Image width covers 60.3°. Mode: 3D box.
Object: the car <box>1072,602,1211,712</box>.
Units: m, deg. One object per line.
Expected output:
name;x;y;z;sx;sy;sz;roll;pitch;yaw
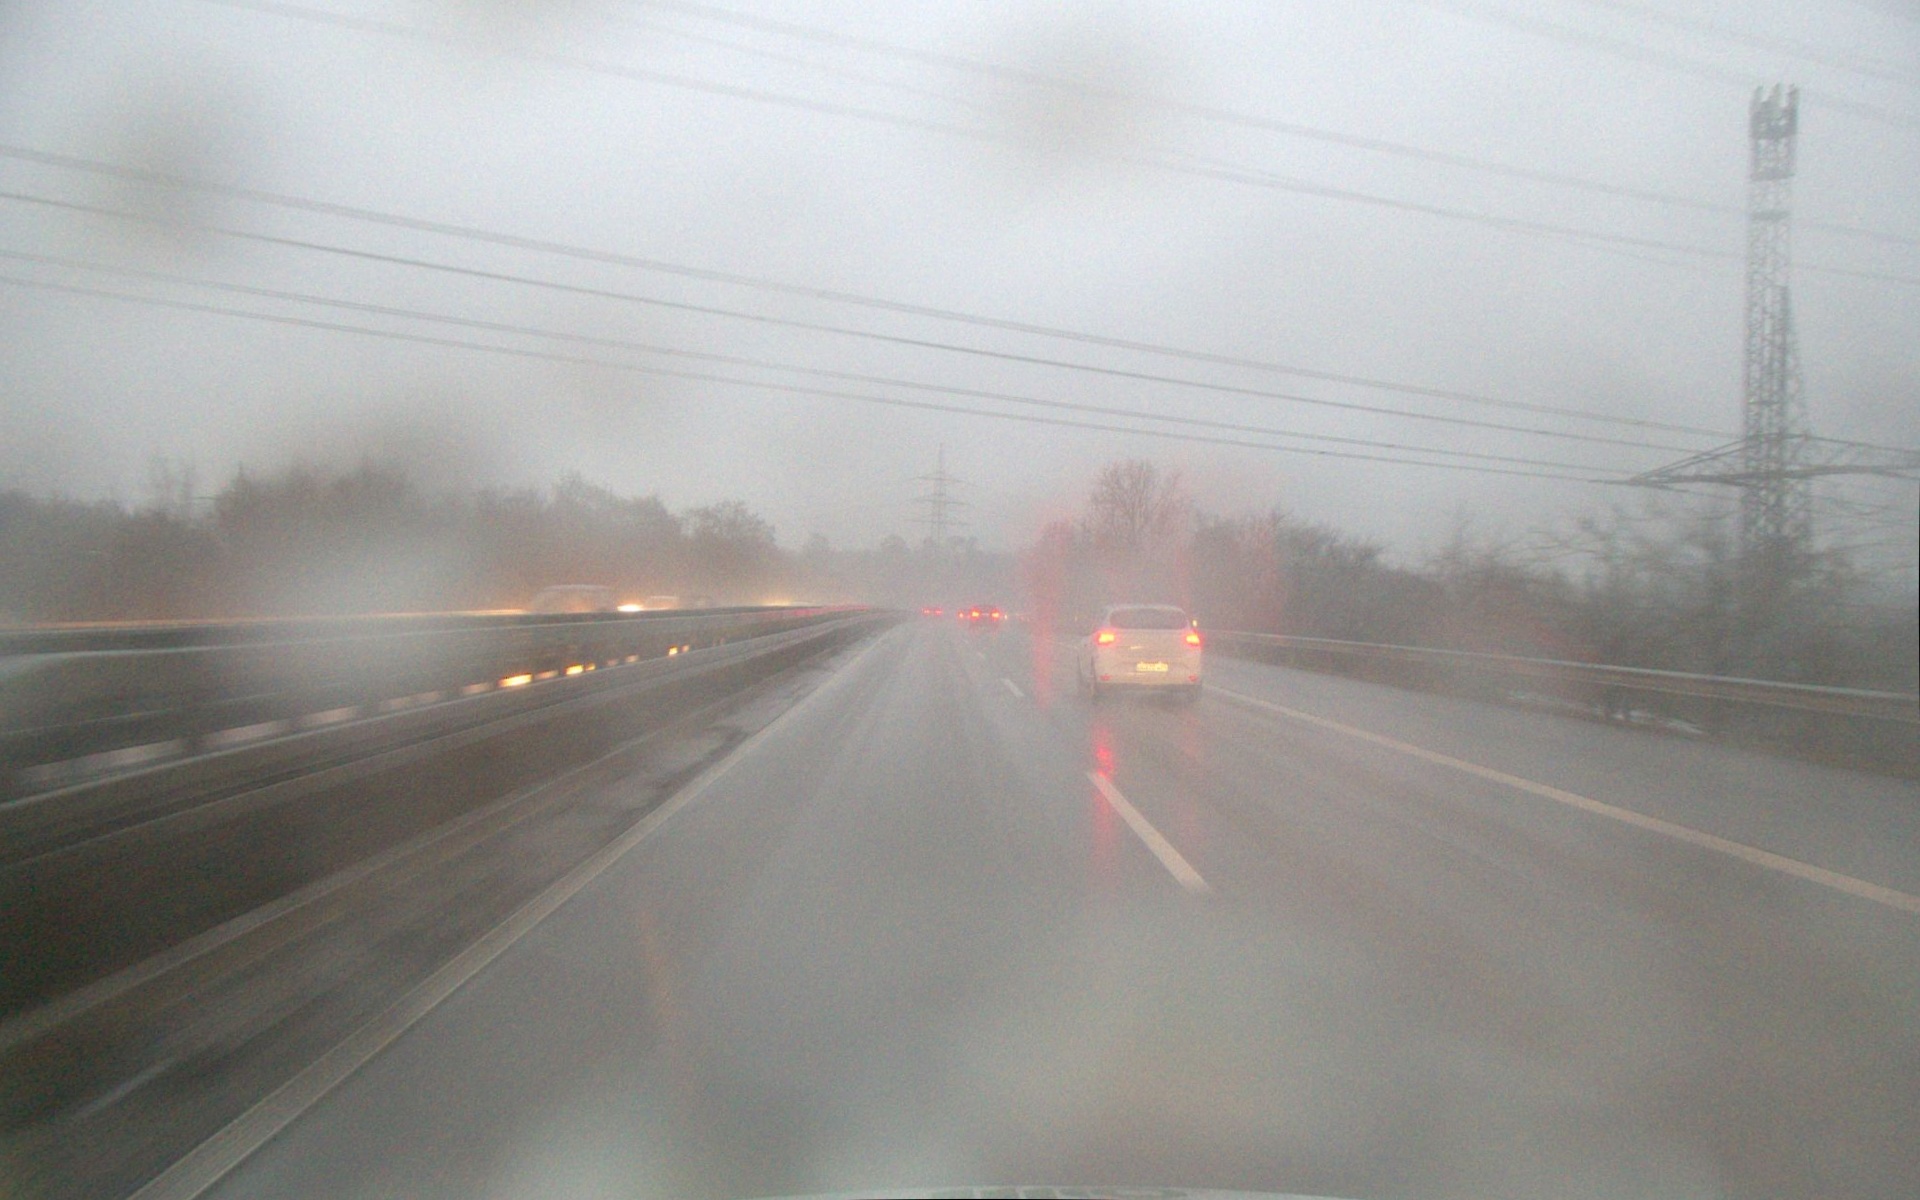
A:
car;2.938;0.889;27.489;1.808;1.664;3.767;0;0;-1

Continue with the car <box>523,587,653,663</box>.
car;-7.973;0.519;35.771;1.953;1.536;3.999;0;0;-1
